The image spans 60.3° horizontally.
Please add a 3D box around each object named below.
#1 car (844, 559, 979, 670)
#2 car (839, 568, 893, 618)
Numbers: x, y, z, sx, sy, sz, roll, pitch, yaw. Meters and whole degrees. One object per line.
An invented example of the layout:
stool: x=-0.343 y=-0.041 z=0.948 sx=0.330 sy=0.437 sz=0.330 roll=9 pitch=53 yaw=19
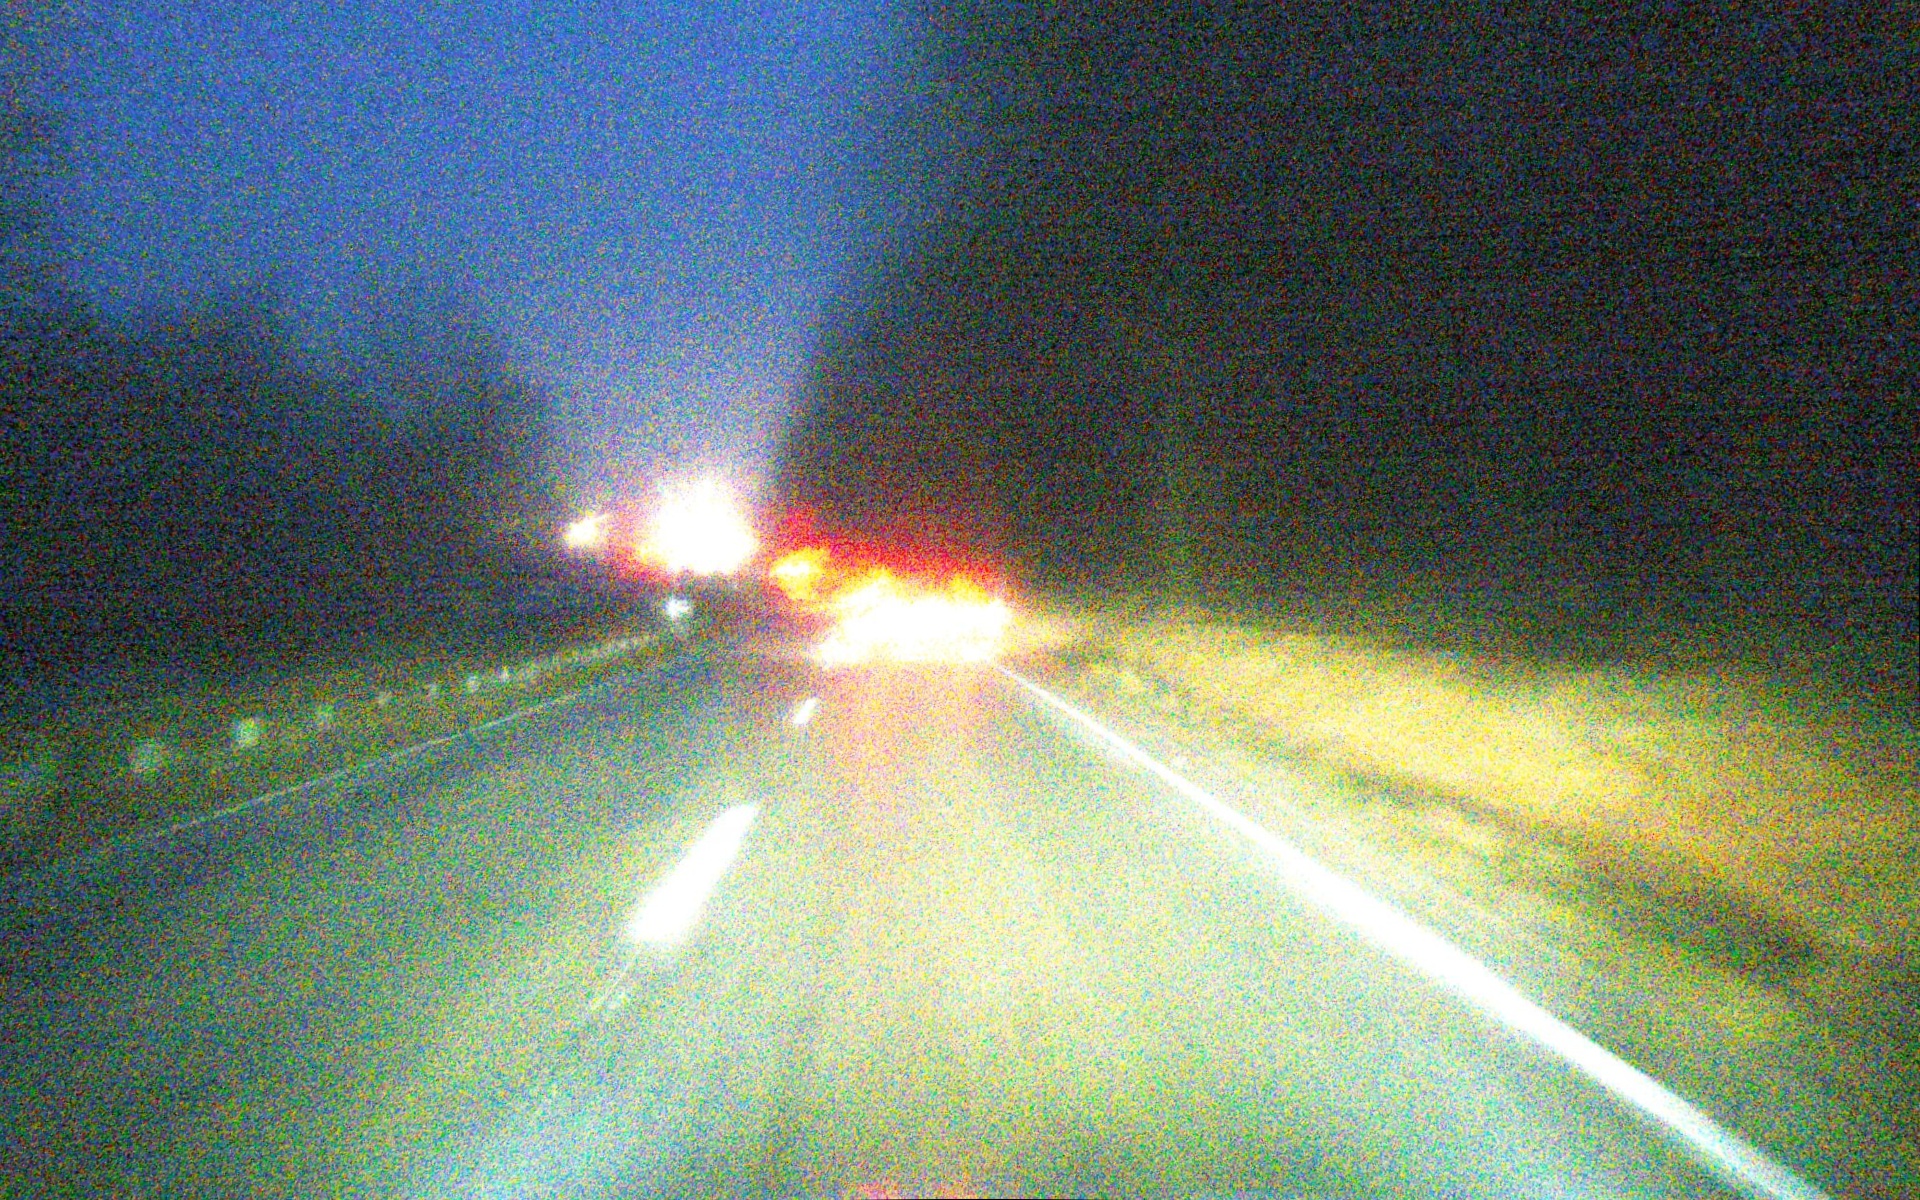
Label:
car: x=-0.848 y=0.250 z=32.341 sx=2.407 sy=1.993 sz=4.912 roll=0 pitch=0 yaw=1
car: x=-3.977 y=-0.298 z=69.442 sx=1.956 sy=2.049 sz=3.994 roll=0 pitch=0 yaw=-7
